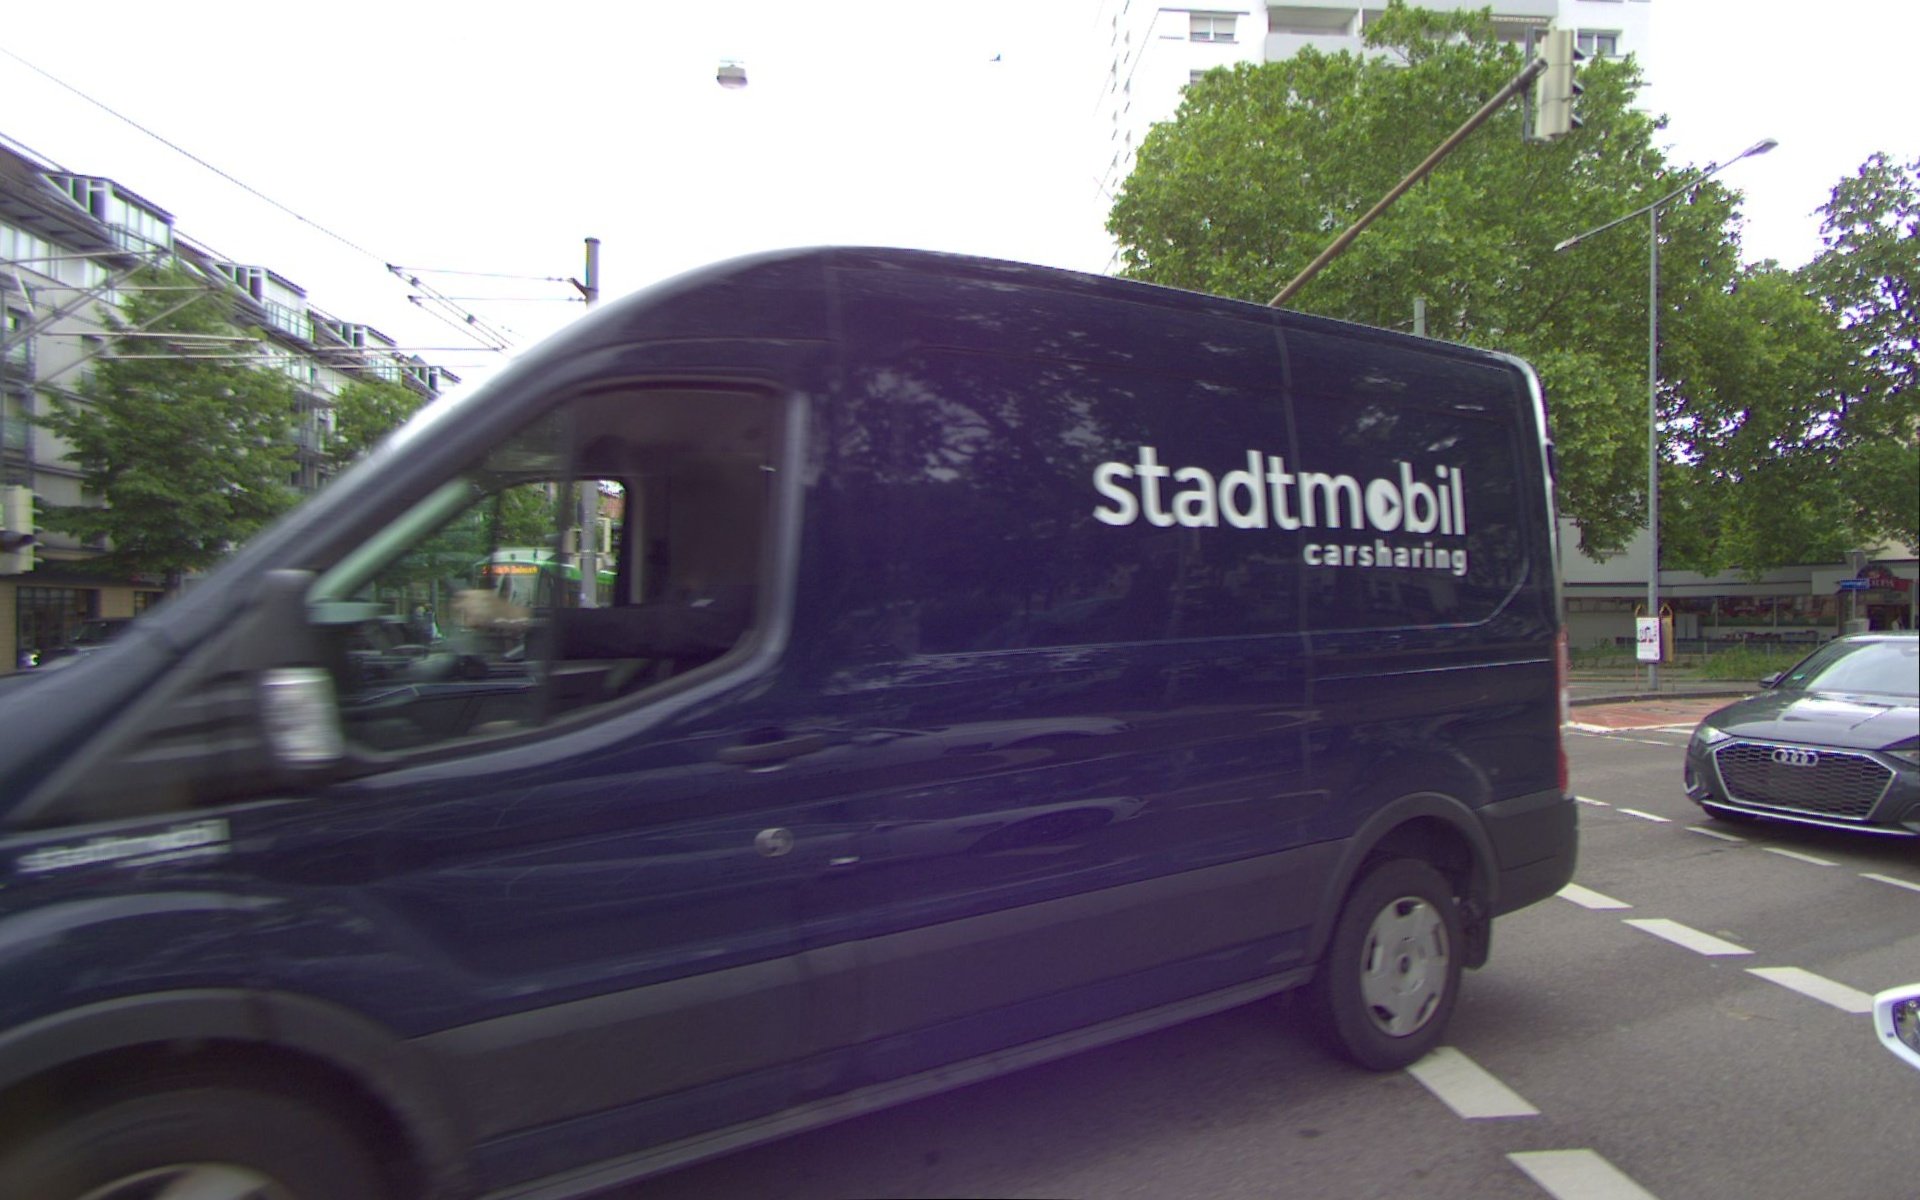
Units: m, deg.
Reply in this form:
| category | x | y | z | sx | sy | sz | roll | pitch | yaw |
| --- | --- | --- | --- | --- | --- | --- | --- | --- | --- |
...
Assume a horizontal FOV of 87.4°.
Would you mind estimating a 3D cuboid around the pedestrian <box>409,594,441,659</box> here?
| category | x | y | z | sx | sy | sz | roll | pitch | yaw |
| --- | --- | --- | --- | --- | --- | --- | --- | --- | --- |
| pedestrian | -15.802 | 0.790 | 29.677 | 0.577 | 1.889 | 0.733 | 0 | -1 | -4 |

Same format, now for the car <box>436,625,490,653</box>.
| category | x | y | z | sx | sy | sz | roll | pitch | yaw |
| --- | --- | --- | --- | --- | --- | --- | --- | --- | --- |
| car | -29.882 | 2.313 | 60.486 | 1.659 | 1.600 | 3.996 | 0 | -1 | -7 |

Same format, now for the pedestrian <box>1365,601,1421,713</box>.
| category | x | y | z | sx | sy | sz | roll | pitch | yaw |
| --- | --- | --- | --- | --- | --- | --- | --- | --- | --- |
| pedestrian | 7.148 | 0.926 | 16.605 | 0.498 | 1.808 | 0.699 | 0 | -1 | -21 |

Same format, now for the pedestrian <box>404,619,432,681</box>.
| category | x | y | z | sx | sy | sz | roll | pitch | yaw |
| --- | --- | --- | --- | --- | --- | --- | --- | --- | --- |
| pedestrian | -16.677 | 1.535 | 30.922 | 0.604 | 1.889 | 0.481 | 0 | -1 | -5 |

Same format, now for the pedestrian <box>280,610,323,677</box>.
| category | x | y | z | sx | sy | sz | roll | pitch | yaw |
| --- | --- | --- | --- | --- | --- | --- | --- | --- | --- |
| pedestrian | -16.148 | 1.065 | 24.645 | 0.577 | 1.624 | 0.733 | 0 | -1 | -4 |

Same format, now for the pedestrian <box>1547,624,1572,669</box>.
| category | x | y | z | sx | sy | sz | roll | pitch | yaw |
| --- | --- | --- | --- | --- | --- | --- | --- | --- | --- |
| pedestrian | 20.890 | 1.605 | 35.025 | 0.610 | 1.565 | 0.422 | 0 | -1 | -5 |

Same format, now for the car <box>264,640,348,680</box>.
| category | x | y | z | sx | sy | sz | roll | pitch | yaw |
| --- | --- | --- | --- | --- | --- | --- | --- | --- | --- |
| car | -27.954 | 2.528 | 43.047 | 1.784 | 1.545 | 3.989 | 0 | -1 | -14 |

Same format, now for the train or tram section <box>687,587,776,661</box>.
| category | x | y | z | sx | sy | sz | roll | pitch | yaw |
| --- | --- | --- | --- | --- | --- | --- | --- | --- | --- |
| train or tram section | -11.489 | 1.237 | 51.804 | 2.573 | 3.342 | 13.007 | 0 | -1 | -4 |

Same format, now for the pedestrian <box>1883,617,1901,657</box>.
| category | x | y | z | sx | sy | sz | roll | pitch | yaw |
| --- | --- | --- | --- | --- | --- | --- | --- | --- | --- |
| pedestrian | 40.455 | 1.599 | 43.604 | 0.513 | 1.703 | 0.504 | 1 | -1 | -44 |

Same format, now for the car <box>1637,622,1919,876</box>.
| category | x | y | z | sx | sy | sz | roll | pitch | yaw |
| --- | --- | --- | --- | --- | --- | --- | --- | --- | --- |
| car | 7.112 | 0.895 | 7.372 | 4.264 | 1.446 | 1.801 | 0 | -1 | -29 |

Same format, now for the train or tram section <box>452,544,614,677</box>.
| category | x | y | z | sx | sy | sz | roll | pitch | yaw |
| --- | --- | --- | --- | --- | --- | --- | --- | --- | --- |
| train or tram section | -13.546 | 0.366 | 32.561 | 2.635 | 3.811 | 7.258 | 0 | -1 | -4 |

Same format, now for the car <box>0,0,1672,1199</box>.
| category | x | y | z | sx | sy | sz | roll | pitch | yaw |
| --- | --- | --- | --- | --- | --- | --- | --- | --- | --- |
| car | -0.175 | 0.263 | 3.425 | 5.512 | 2.483 | 2.124 | 0 | -1 | -30 |

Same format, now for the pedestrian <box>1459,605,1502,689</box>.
| category | x | y | z | sx | sy | sz | roll | pitch | yaw |
| --- | --- | --- | --- | --- | --- | --- | --- | --- | --- |
| pedestrian | 11.454 | 1.019 | 22.123 | 0.610 | 1.808 | 0.573 | 0 | -1 | -20 |

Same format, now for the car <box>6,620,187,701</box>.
| category | x | y | z | sx | sy | sz | roll | pitch | yaw |
| --- | --- | --- | --- | --- | --- | --- | --- | --- | --- |
| car | -22.424 | 1.498 | 26.306 | 1.659 | 1.939 | 3.995 | 0 | -1 | -7 |
